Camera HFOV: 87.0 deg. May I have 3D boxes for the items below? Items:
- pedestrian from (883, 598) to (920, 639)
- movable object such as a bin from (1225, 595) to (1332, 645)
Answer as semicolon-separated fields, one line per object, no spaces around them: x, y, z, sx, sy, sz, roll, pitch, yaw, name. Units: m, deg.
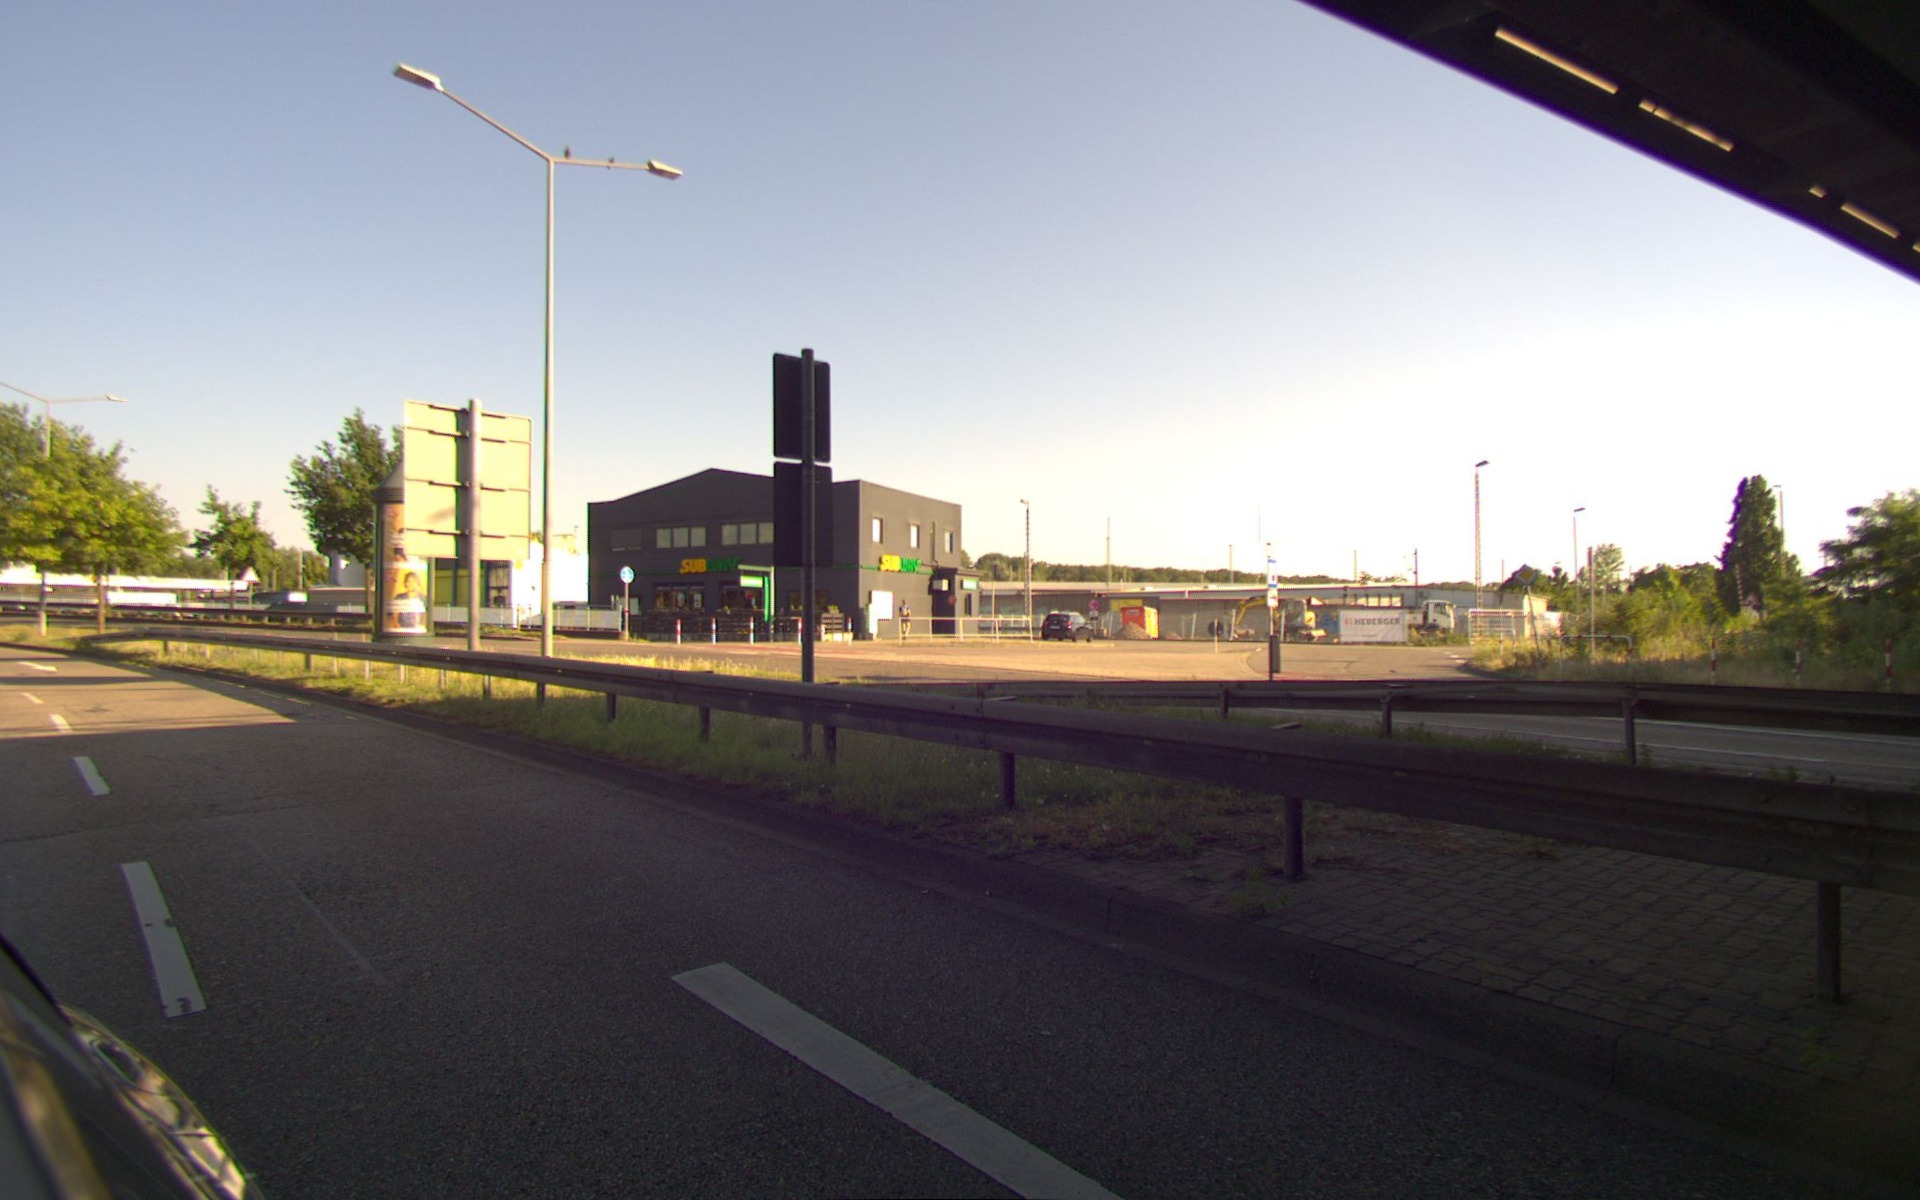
-2.687;0.843;46.534;1.256;1.849;1.086;-1;0;-42;pedestrian
21.839;1.363;69.474;6.601;3.241;2.423;-1;0;29;movable object such as a bin
